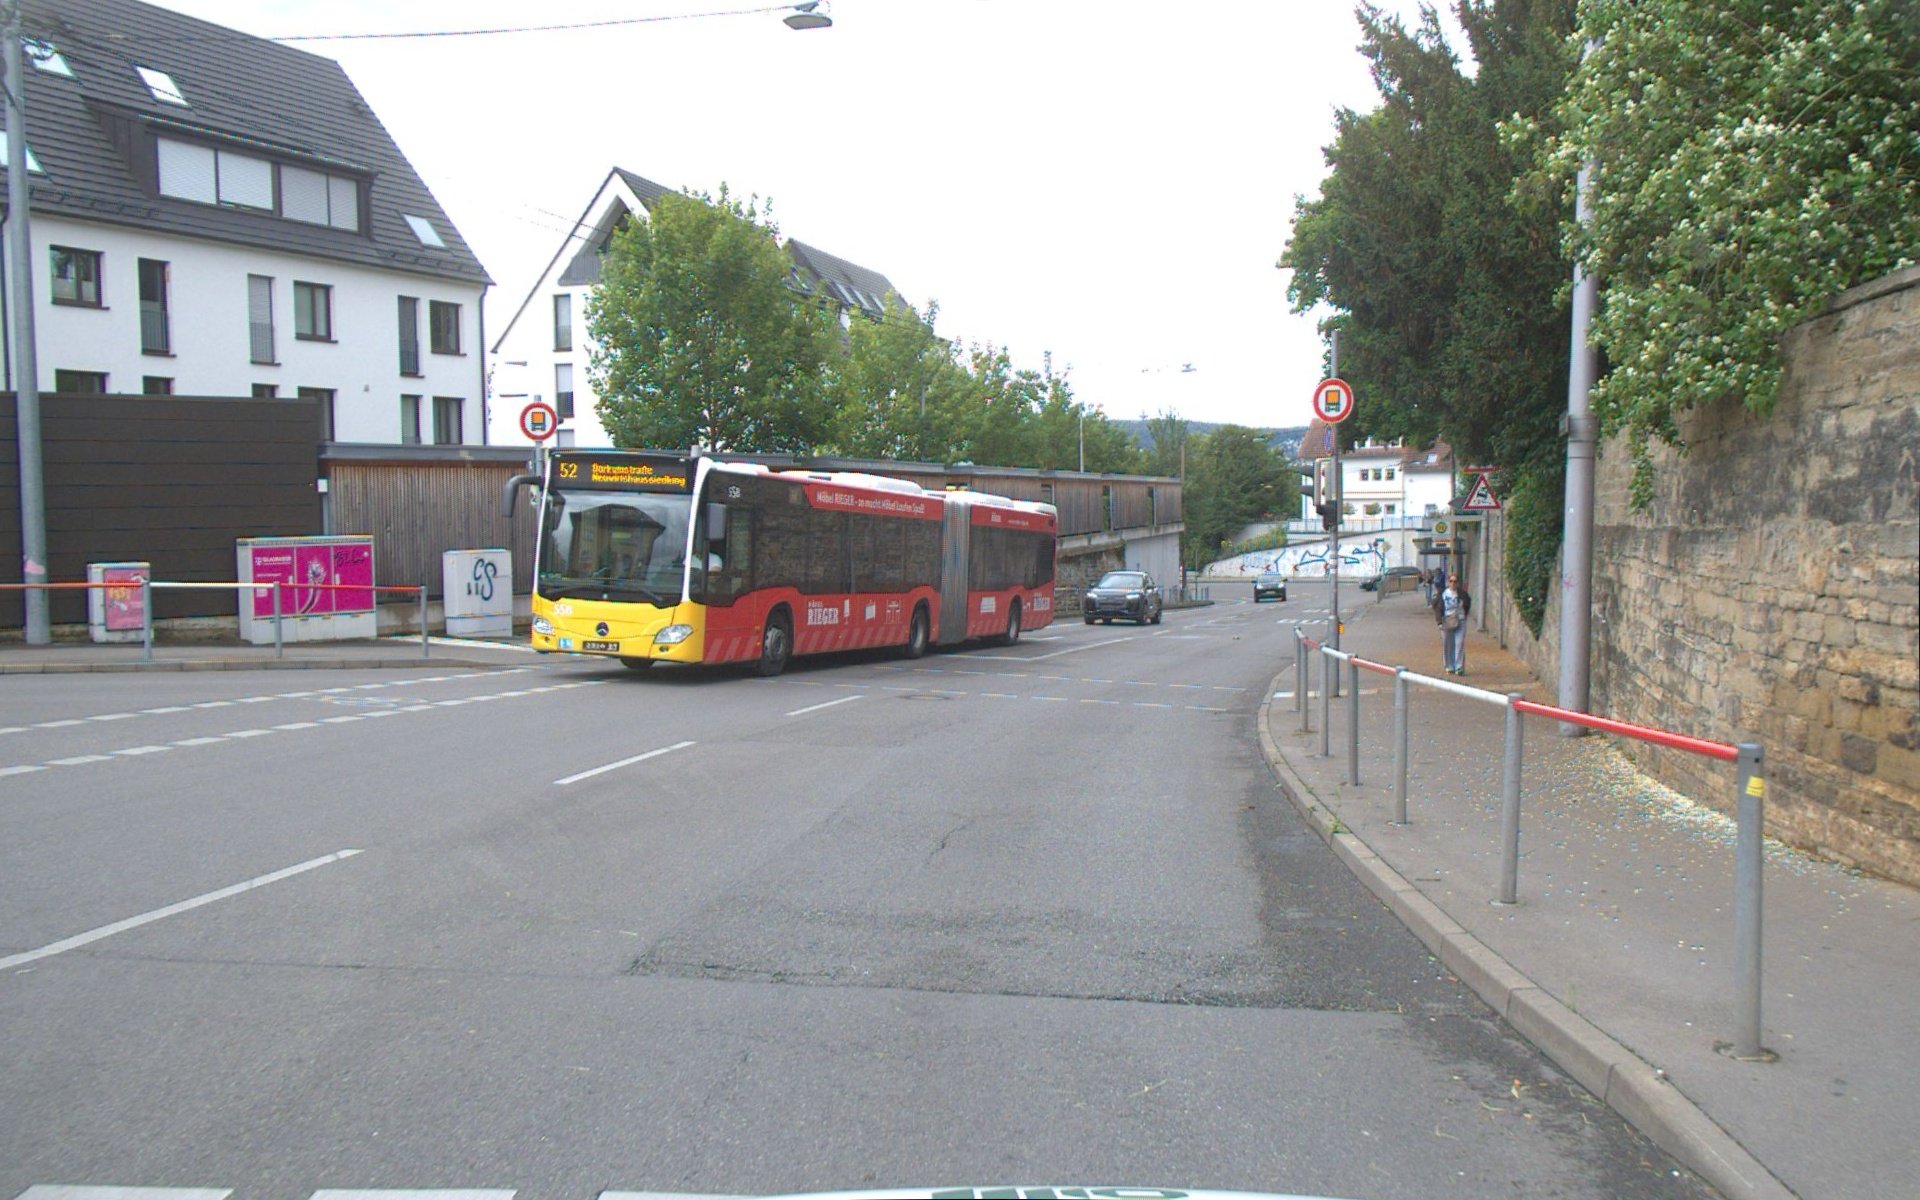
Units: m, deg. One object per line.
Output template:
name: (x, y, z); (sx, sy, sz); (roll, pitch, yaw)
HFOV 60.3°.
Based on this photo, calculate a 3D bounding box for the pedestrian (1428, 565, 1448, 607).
pedestrian: (19.208, -0.557, 66.450); (0.705, 1.671, 0.631); (0, 0, 11)

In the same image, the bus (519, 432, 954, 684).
bus: (-2.962, -0.626, 26.134); (2.602, 3.176, 10.024); (2, 1, 18)

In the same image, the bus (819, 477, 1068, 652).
bus: (-0.079, -0.735, 34.834); (2.602, 3.176, 8.296); (2, 1, 18)

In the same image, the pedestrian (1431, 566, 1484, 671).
pedestrian: (7.785, 0.280, 25.905); (0.715, 1.603, 0.744); (-1, 1, 13)

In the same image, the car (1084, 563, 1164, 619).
car: (5.318, -0.297, 53.144); (1.881, 1.658, 4.526); (2, 1, 14)

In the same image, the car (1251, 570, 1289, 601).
car: (18.758, -0.878, 99.922); (1.854, 1.787, 4.440); (0, 0, 15)

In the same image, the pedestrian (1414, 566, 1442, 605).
pedestrian: (19.424, -0.603, 68.649); (0.764, 1.615, 0.729); (-3, 1, -33)

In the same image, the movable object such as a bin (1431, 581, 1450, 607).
movable object such as a bin: (19.105, -0.238, 65.741); (0.660, 1.038, 0.627); (0, 1, 11)
